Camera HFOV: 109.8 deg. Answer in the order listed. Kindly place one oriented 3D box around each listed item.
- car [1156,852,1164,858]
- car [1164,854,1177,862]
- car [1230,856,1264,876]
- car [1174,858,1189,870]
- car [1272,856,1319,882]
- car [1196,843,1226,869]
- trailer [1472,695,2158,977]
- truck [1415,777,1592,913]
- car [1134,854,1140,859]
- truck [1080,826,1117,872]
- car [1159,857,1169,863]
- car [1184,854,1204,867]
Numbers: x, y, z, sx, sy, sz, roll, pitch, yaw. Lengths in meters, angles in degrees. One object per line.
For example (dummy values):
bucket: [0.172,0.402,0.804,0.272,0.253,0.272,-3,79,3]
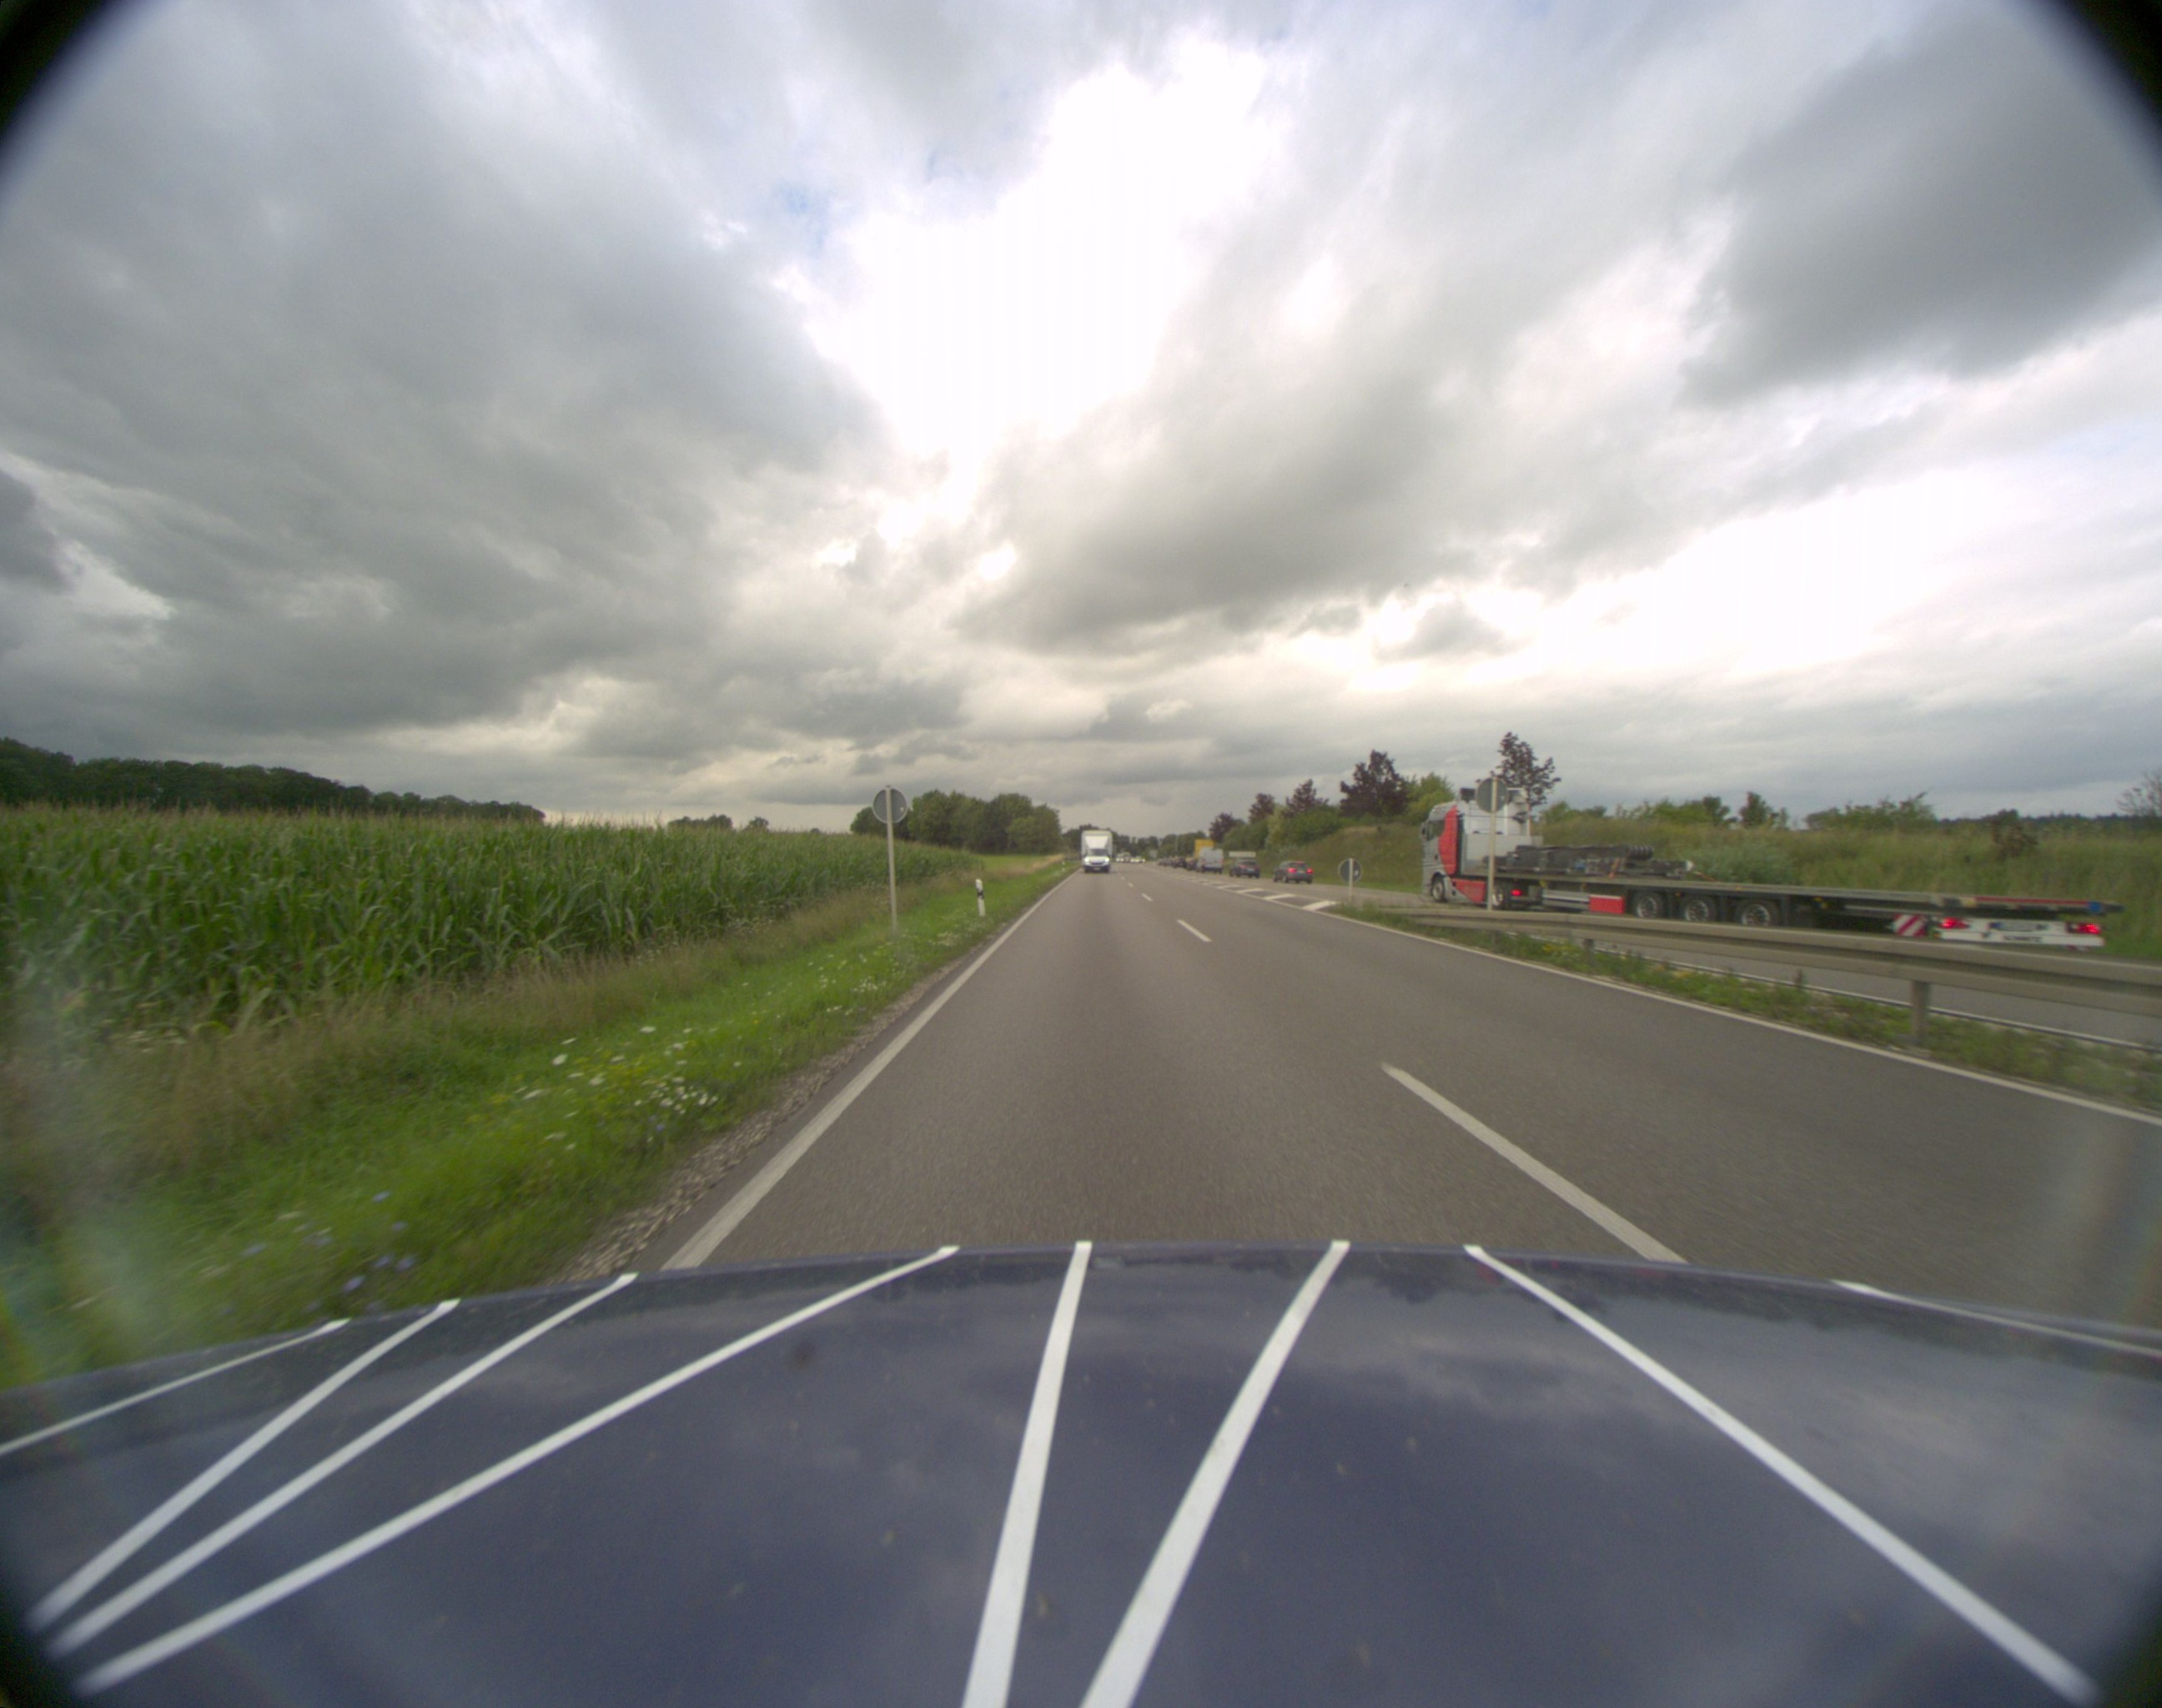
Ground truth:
car: [20.487,0.309,197.063,1.611,1.406,4.057,1,0,2]
car: [16.565,0.749,140.711,1.798,1.502,4.706,3,0,2]
car: [13.576,0.963,62.285,1.737,1.521,4.548,2,0,0]
car: [15.143,1.496,114.387,1.798,1.624,4.516,3,0,2]
car: [13.550,0.939,48.285,1.737,1.521,4.193,2,0,0]
car: [13.283,0.212,78.210,2.038,2.425,5.635,2,0,0]
trailer: [13.554,-0.218,17.064,2.782,3.924,12.984,0,0,0]
truck: [13.514,-0.244,24.858,2.810,3.974,5.286,0,0,0]
car: [15.824,0.753,214.543,1.859,1.274,4.002,2,0,5]
truck: [1.392,-0.366,64.591,2.934,3.652,8.443,0,0,0]
car: [18.095,1.300,166.279,1.798,1.397,4.706,3,0,2]
car: [13.559,0.807,91.357,1.737,1.521,4.194,2,0,0]
